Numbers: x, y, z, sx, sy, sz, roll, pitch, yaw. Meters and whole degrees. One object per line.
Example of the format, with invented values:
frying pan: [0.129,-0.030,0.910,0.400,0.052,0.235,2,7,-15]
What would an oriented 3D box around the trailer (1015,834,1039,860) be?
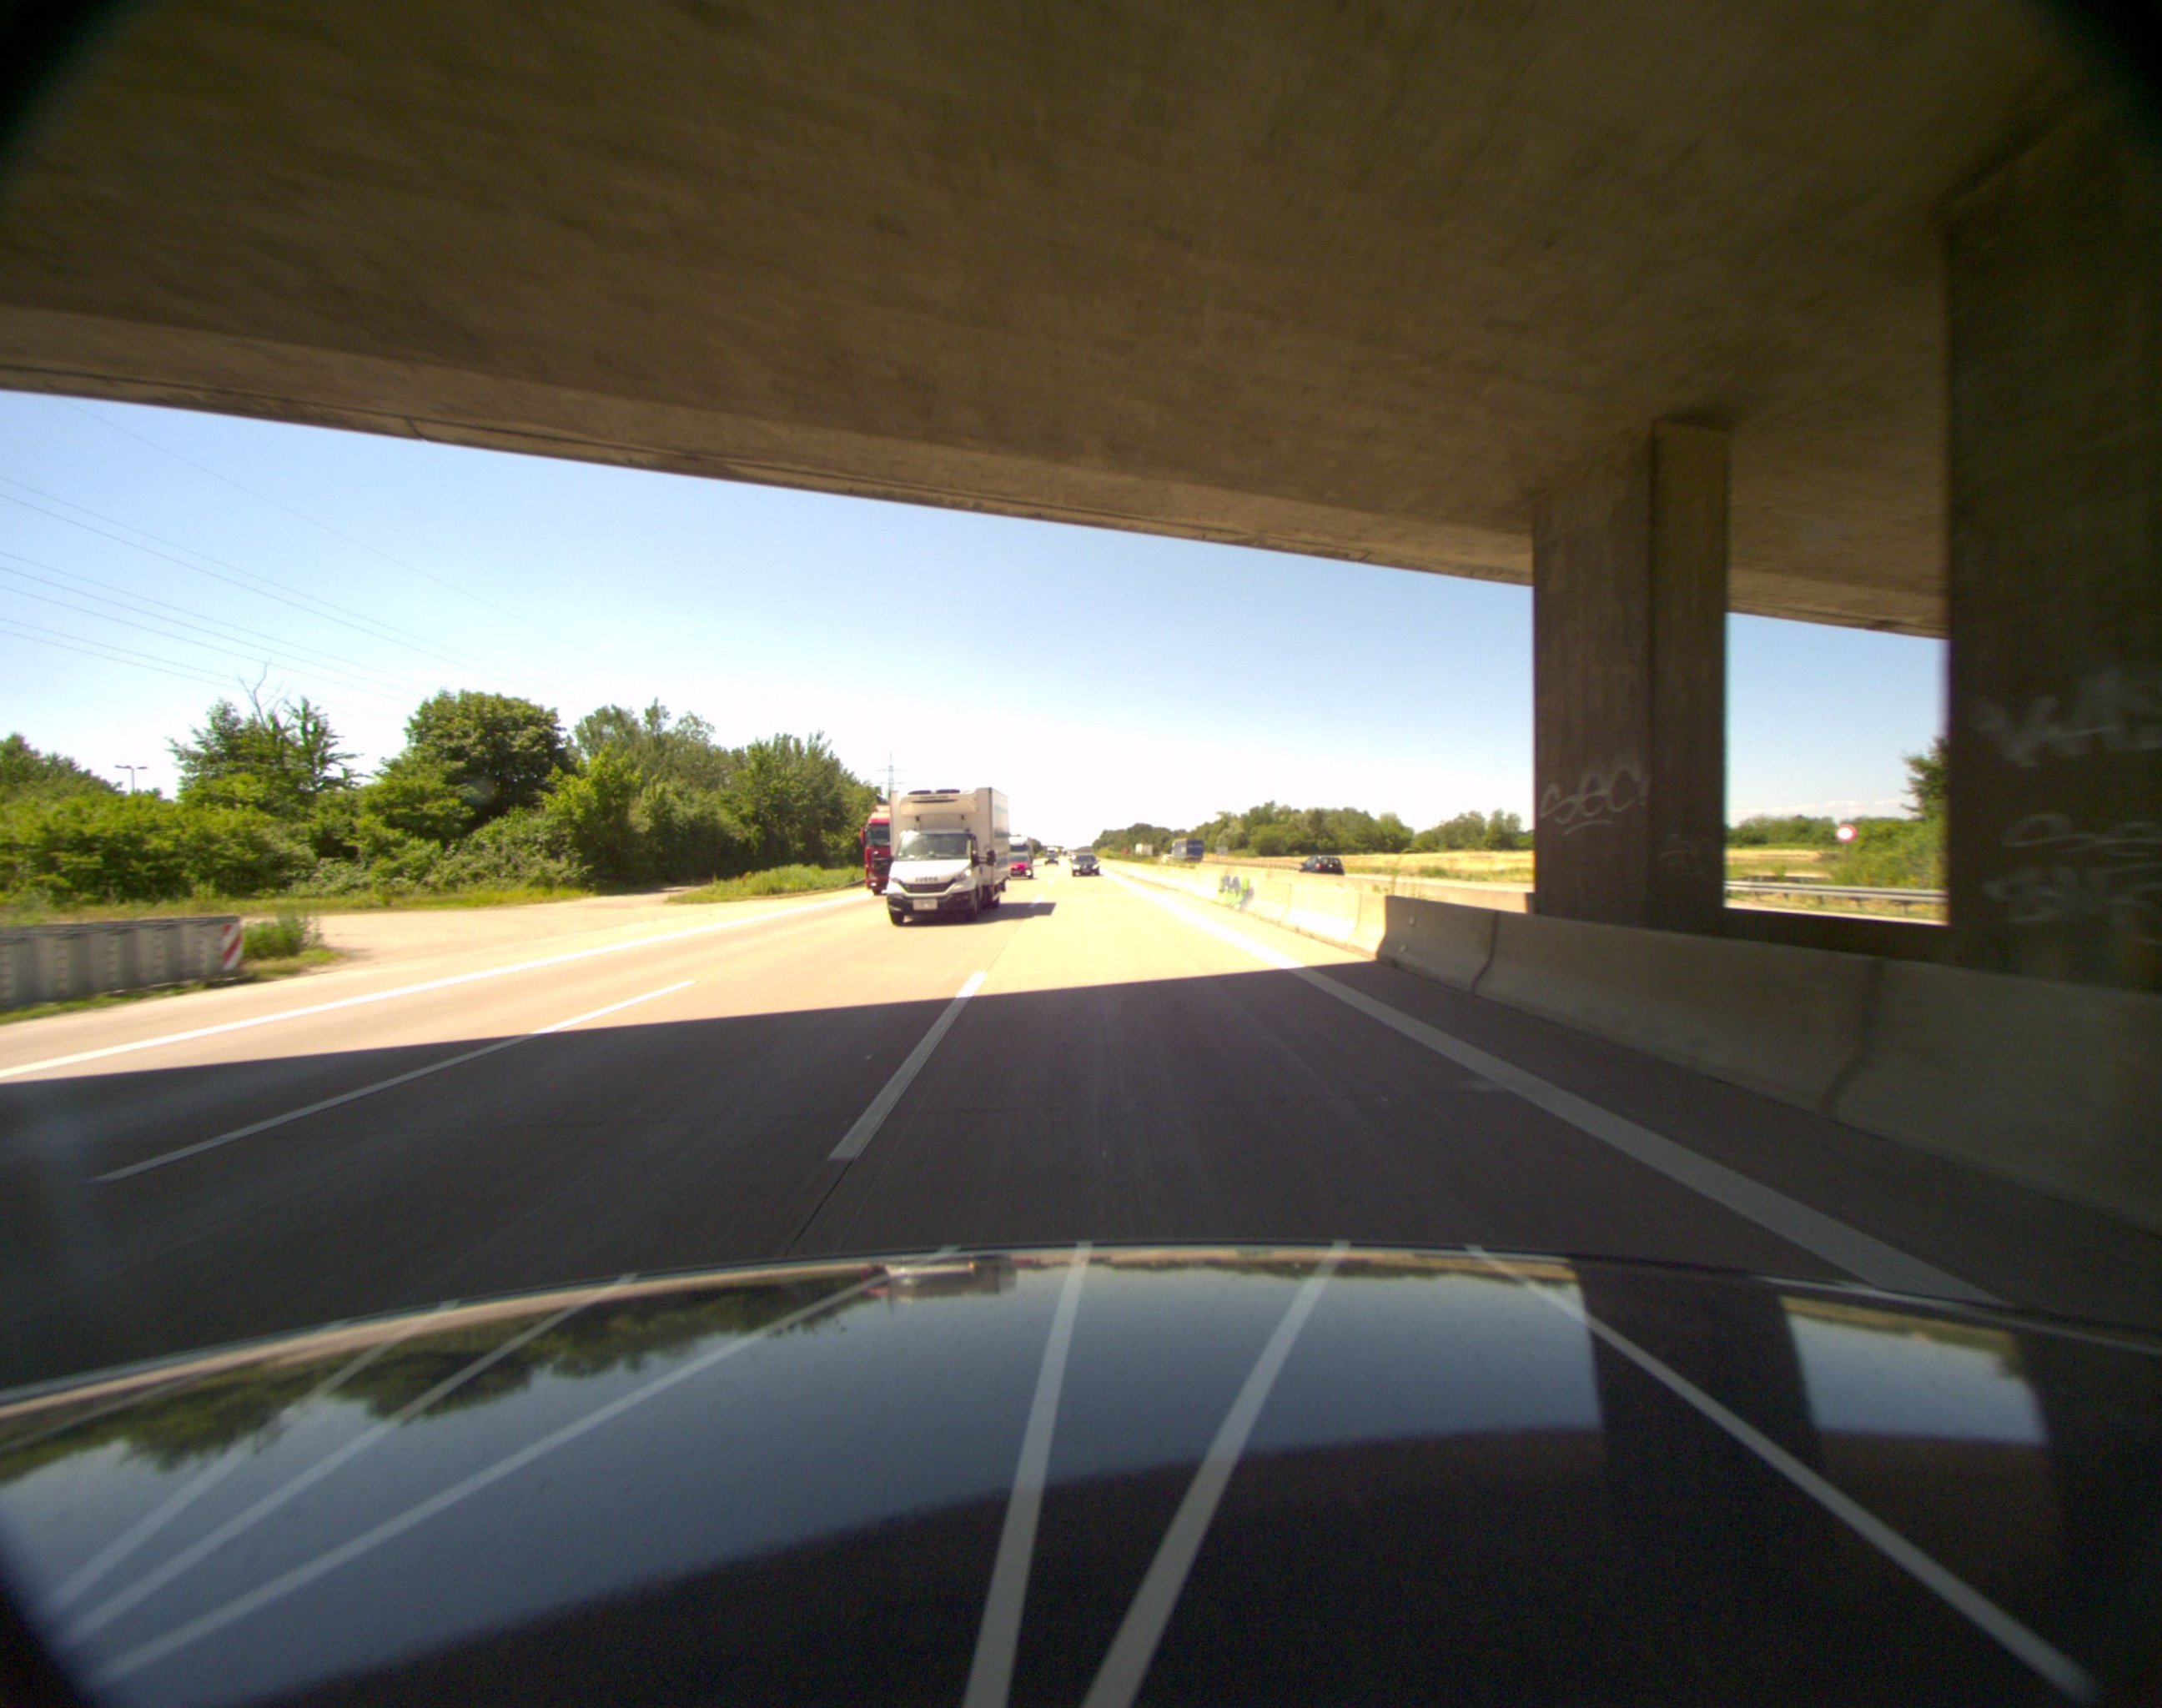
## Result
trailer: [-7.690,-0.987,109.138,2.457,3.533,9.717,-2,0,1]

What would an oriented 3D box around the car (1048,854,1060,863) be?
car: [-3.780,0.594,105.799,1.545,1.098,3.054,-2,1,1]

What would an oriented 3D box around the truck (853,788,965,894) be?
truck: [-8.010,-0.575,37.091,2.856,4.298,10.884,-2,0,0]

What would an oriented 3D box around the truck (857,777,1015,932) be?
truck: [-3.536,-0.016,20.686,2.784,3.328,7.811,-2,0,-1]

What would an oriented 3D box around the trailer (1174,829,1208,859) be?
trailer: [17.268,-1.515,120.027,3.273,4.353,13.500,-2,0,0]

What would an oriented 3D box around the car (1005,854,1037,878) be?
car: [-3.772,0.739,48.501,1.671,1.439,4.000,-2,0,1]

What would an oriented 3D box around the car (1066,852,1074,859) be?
car: [-2.575,0.362,175.831,1.683,1.444,3.564,-2,0,1]

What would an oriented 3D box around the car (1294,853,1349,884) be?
car: [13.415,0.776,42.627,1.771,1.609,3.861,-1,0,-1]

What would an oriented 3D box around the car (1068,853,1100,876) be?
car: [0.147,0.700,52.675,1.999,1.462,6.346,0,0,-1]

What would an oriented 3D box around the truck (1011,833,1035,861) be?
truck: [-7.767,-0.939,102.624,2.457,3.533,6.457,-2,1,1]

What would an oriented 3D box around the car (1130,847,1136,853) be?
car: [16.597,-1.270,243.913,1.597,1.836,3.556,-1,0,0]

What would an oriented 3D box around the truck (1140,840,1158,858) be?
truck: [16.702,-1.261,187.524,3.259,4.353,10.536,-2,0,0]

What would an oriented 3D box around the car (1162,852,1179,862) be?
car: [12.859,0.442,109.586,1.819,1.401,4.670,-1,0,-1]
